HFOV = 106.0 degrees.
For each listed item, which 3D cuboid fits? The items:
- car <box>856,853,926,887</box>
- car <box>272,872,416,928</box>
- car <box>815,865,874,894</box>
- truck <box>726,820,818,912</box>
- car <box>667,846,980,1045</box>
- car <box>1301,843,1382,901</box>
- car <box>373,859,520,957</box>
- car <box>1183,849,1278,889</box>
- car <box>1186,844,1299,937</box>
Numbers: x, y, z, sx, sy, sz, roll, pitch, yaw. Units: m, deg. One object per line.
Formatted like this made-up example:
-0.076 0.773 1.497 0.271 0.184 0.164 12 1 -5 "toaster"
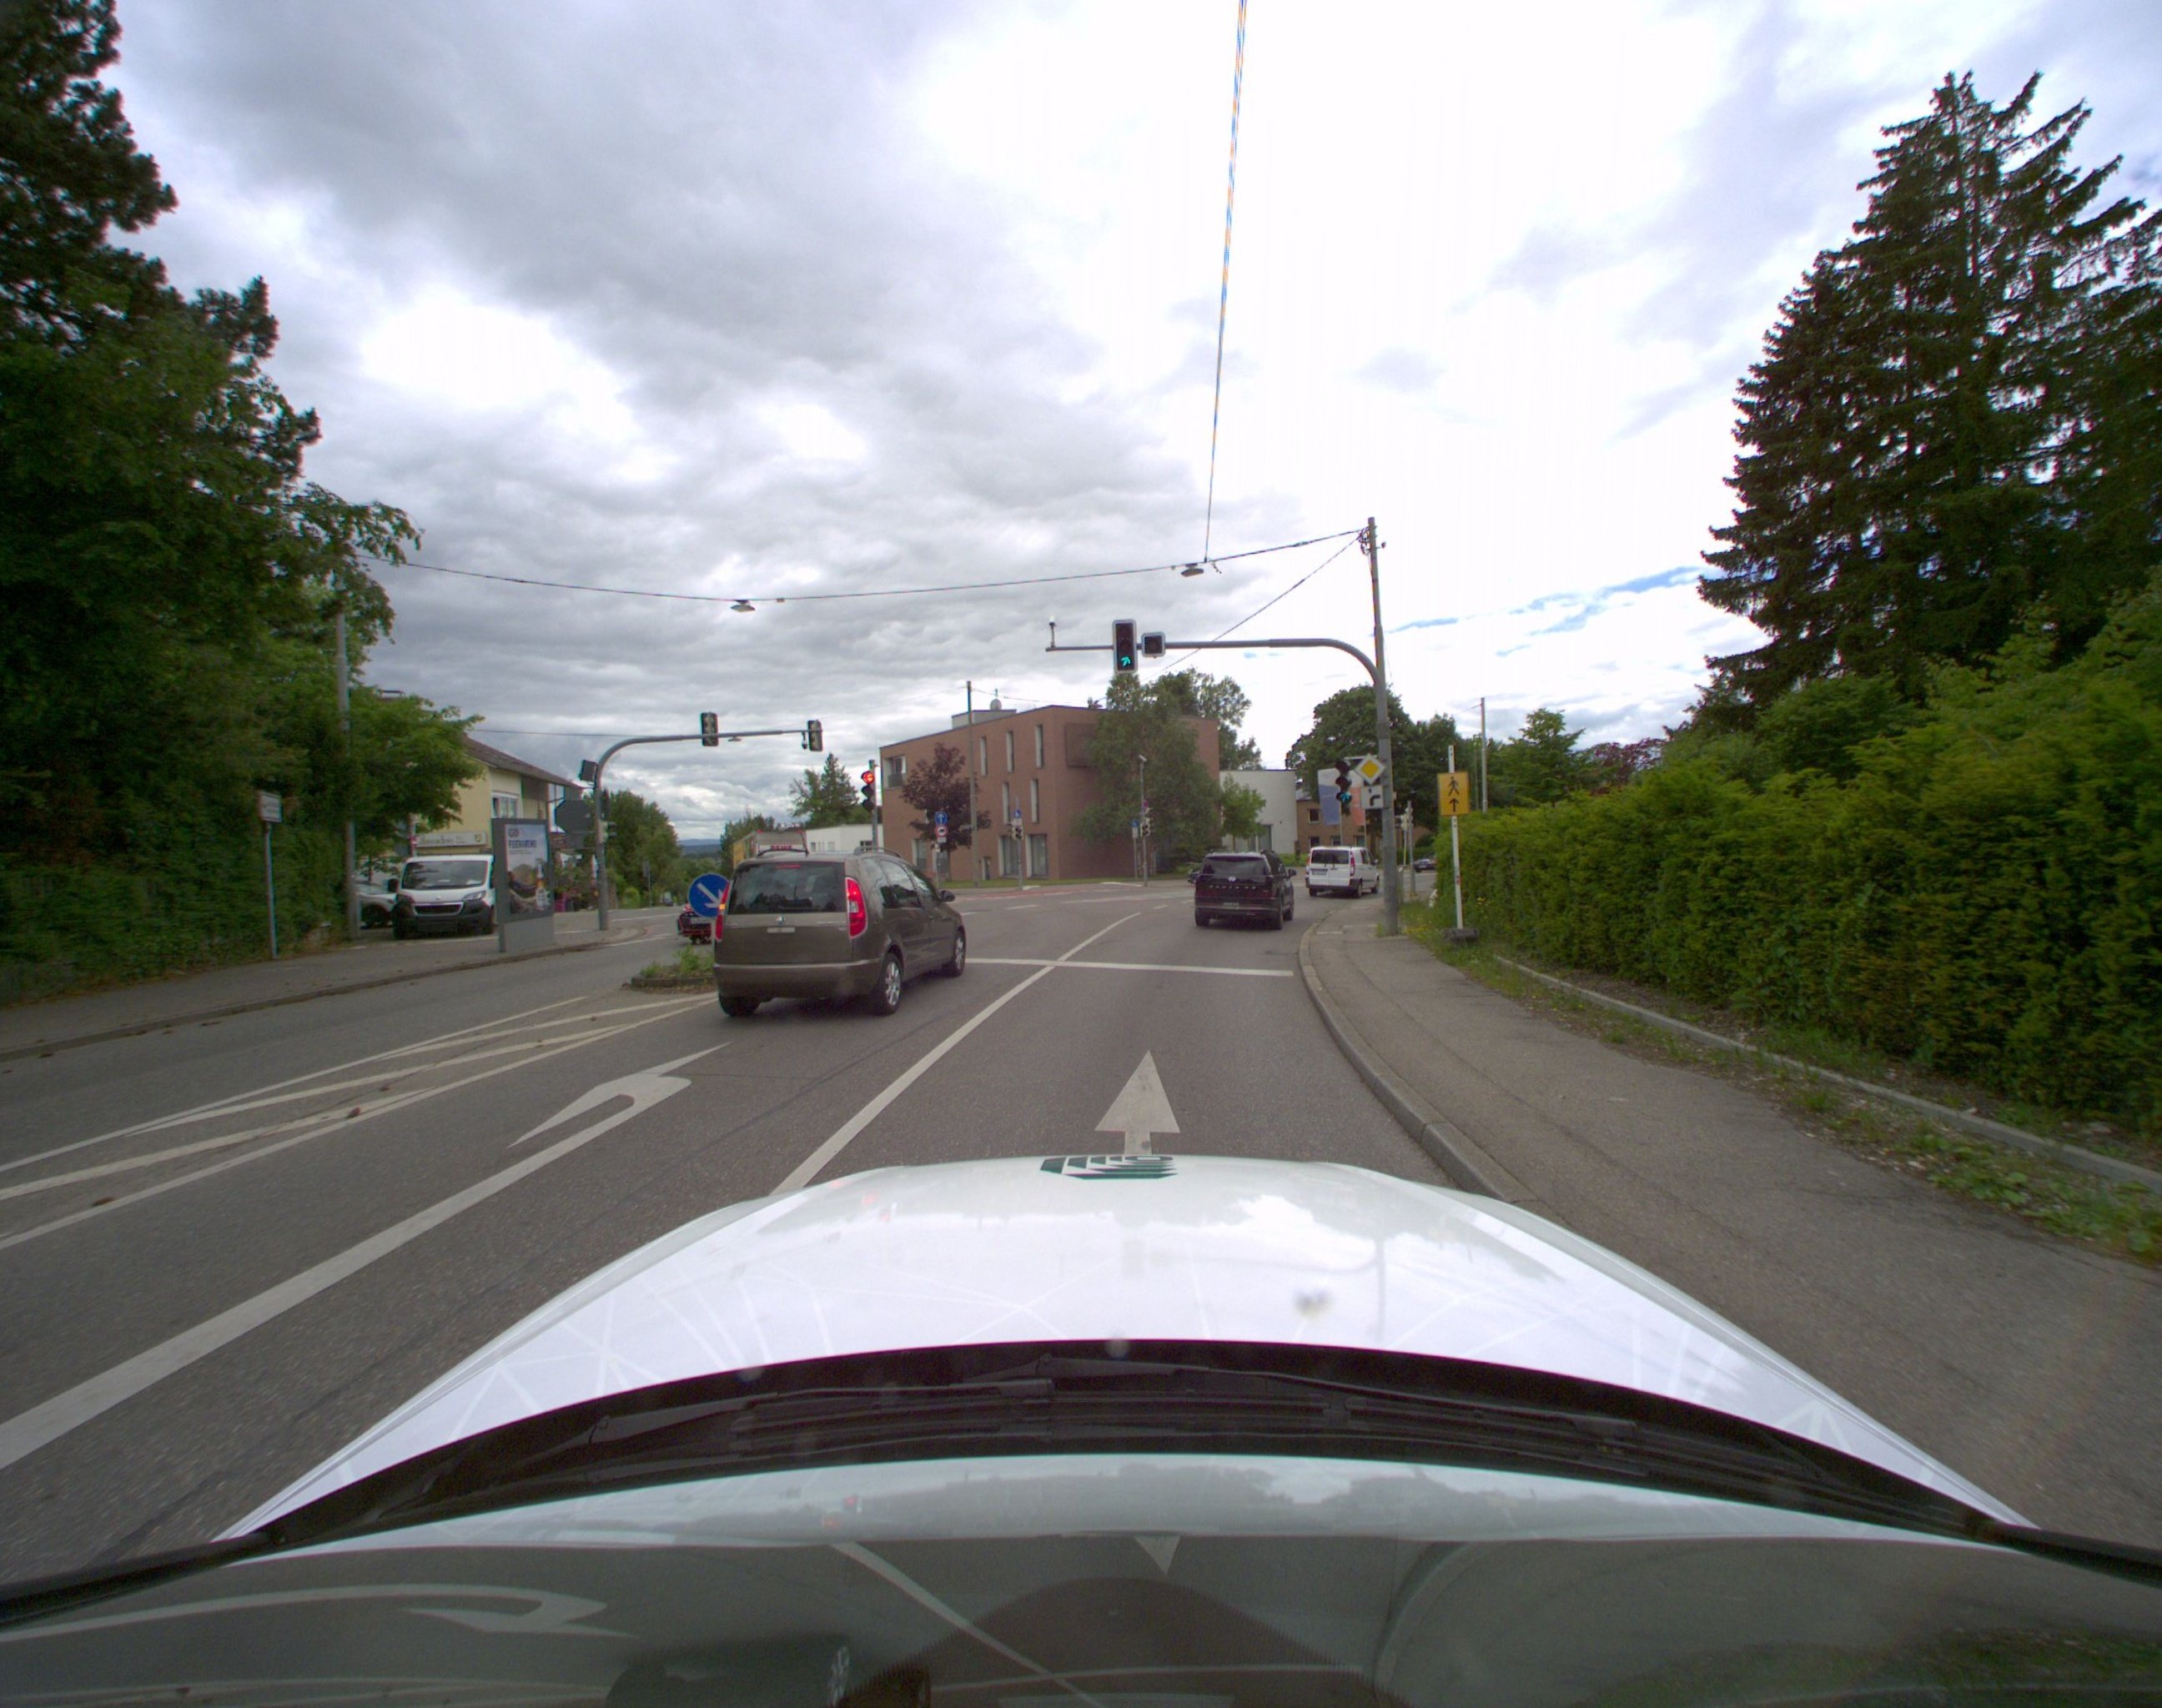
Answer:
-12.458 1.038 53.463 4.016 2.013 1.979 -2 0 -33 "car"
-30.946 1.885 34.354 4.005 2.013 1.984 -2 0 -24 "car"
-18.543 1.992 63.928 4.016 2.013 1.979 -3 0 -34 "car"
-18.519 0.675 48.183 3.145 4.734 11.681 -2 0 -30 "truck"
-2.552 0.824 9.231 1.884 1.706 4.006 -2 0 5 "car"
10.070 0.611 31.278 1.943 2.013 4.456 1 1 31 "car"
-17.323 1.347 22.629 2.295 2.227 6.408 -2 0 -30 "car"
7.137 0.685 38.598 4.813 1.658 1.975 -2 0 -45 "car"
3.883 0.756 19.017 1.977 1.881 4.020 1 0 20 "car"
